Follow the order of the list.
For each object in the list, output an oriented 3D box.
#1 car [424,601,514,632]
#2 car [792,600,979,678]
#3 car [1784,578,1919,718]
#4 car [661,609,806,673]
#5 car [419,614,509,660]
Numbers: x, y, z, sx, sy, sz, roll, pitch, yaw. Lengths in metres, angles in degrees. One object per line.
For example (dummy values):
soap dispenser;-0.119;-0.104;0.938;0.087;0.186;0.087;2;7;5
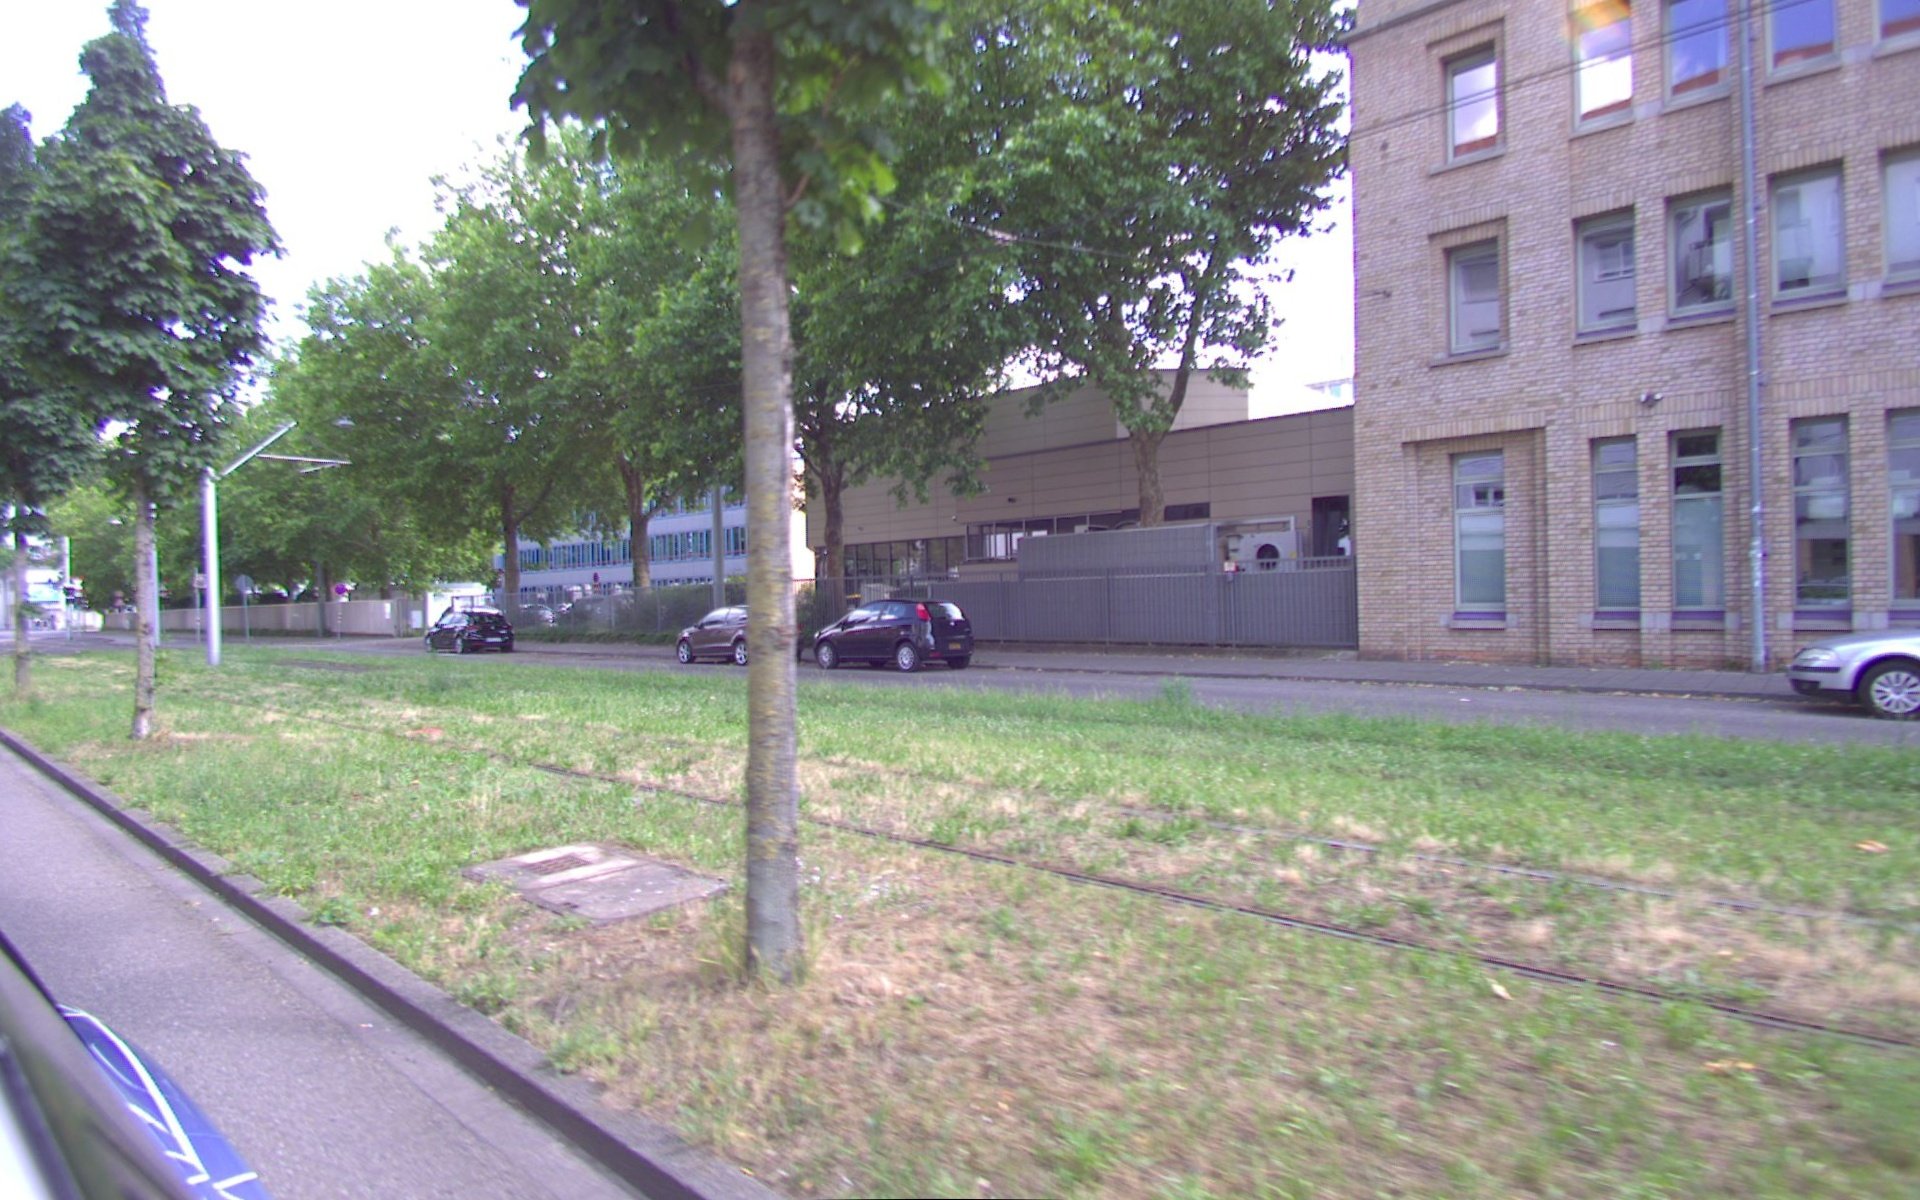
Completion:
car;-26.887;0.874;55.484;1.999;1.630;3.946;-1;-1;40
car;-1.656;0.784;21.537;4.002;1.464;1.782;-2;0;45
car;11.111;0.452;10.003;4.485;1.406;1.696;-2;0;43
car;-5.697;0.992;25.239;3.901;1.436;1.538;-2;0;42
car;-17.539;1.277;35.715;4.001;1.475;1.580;-2;0;44
